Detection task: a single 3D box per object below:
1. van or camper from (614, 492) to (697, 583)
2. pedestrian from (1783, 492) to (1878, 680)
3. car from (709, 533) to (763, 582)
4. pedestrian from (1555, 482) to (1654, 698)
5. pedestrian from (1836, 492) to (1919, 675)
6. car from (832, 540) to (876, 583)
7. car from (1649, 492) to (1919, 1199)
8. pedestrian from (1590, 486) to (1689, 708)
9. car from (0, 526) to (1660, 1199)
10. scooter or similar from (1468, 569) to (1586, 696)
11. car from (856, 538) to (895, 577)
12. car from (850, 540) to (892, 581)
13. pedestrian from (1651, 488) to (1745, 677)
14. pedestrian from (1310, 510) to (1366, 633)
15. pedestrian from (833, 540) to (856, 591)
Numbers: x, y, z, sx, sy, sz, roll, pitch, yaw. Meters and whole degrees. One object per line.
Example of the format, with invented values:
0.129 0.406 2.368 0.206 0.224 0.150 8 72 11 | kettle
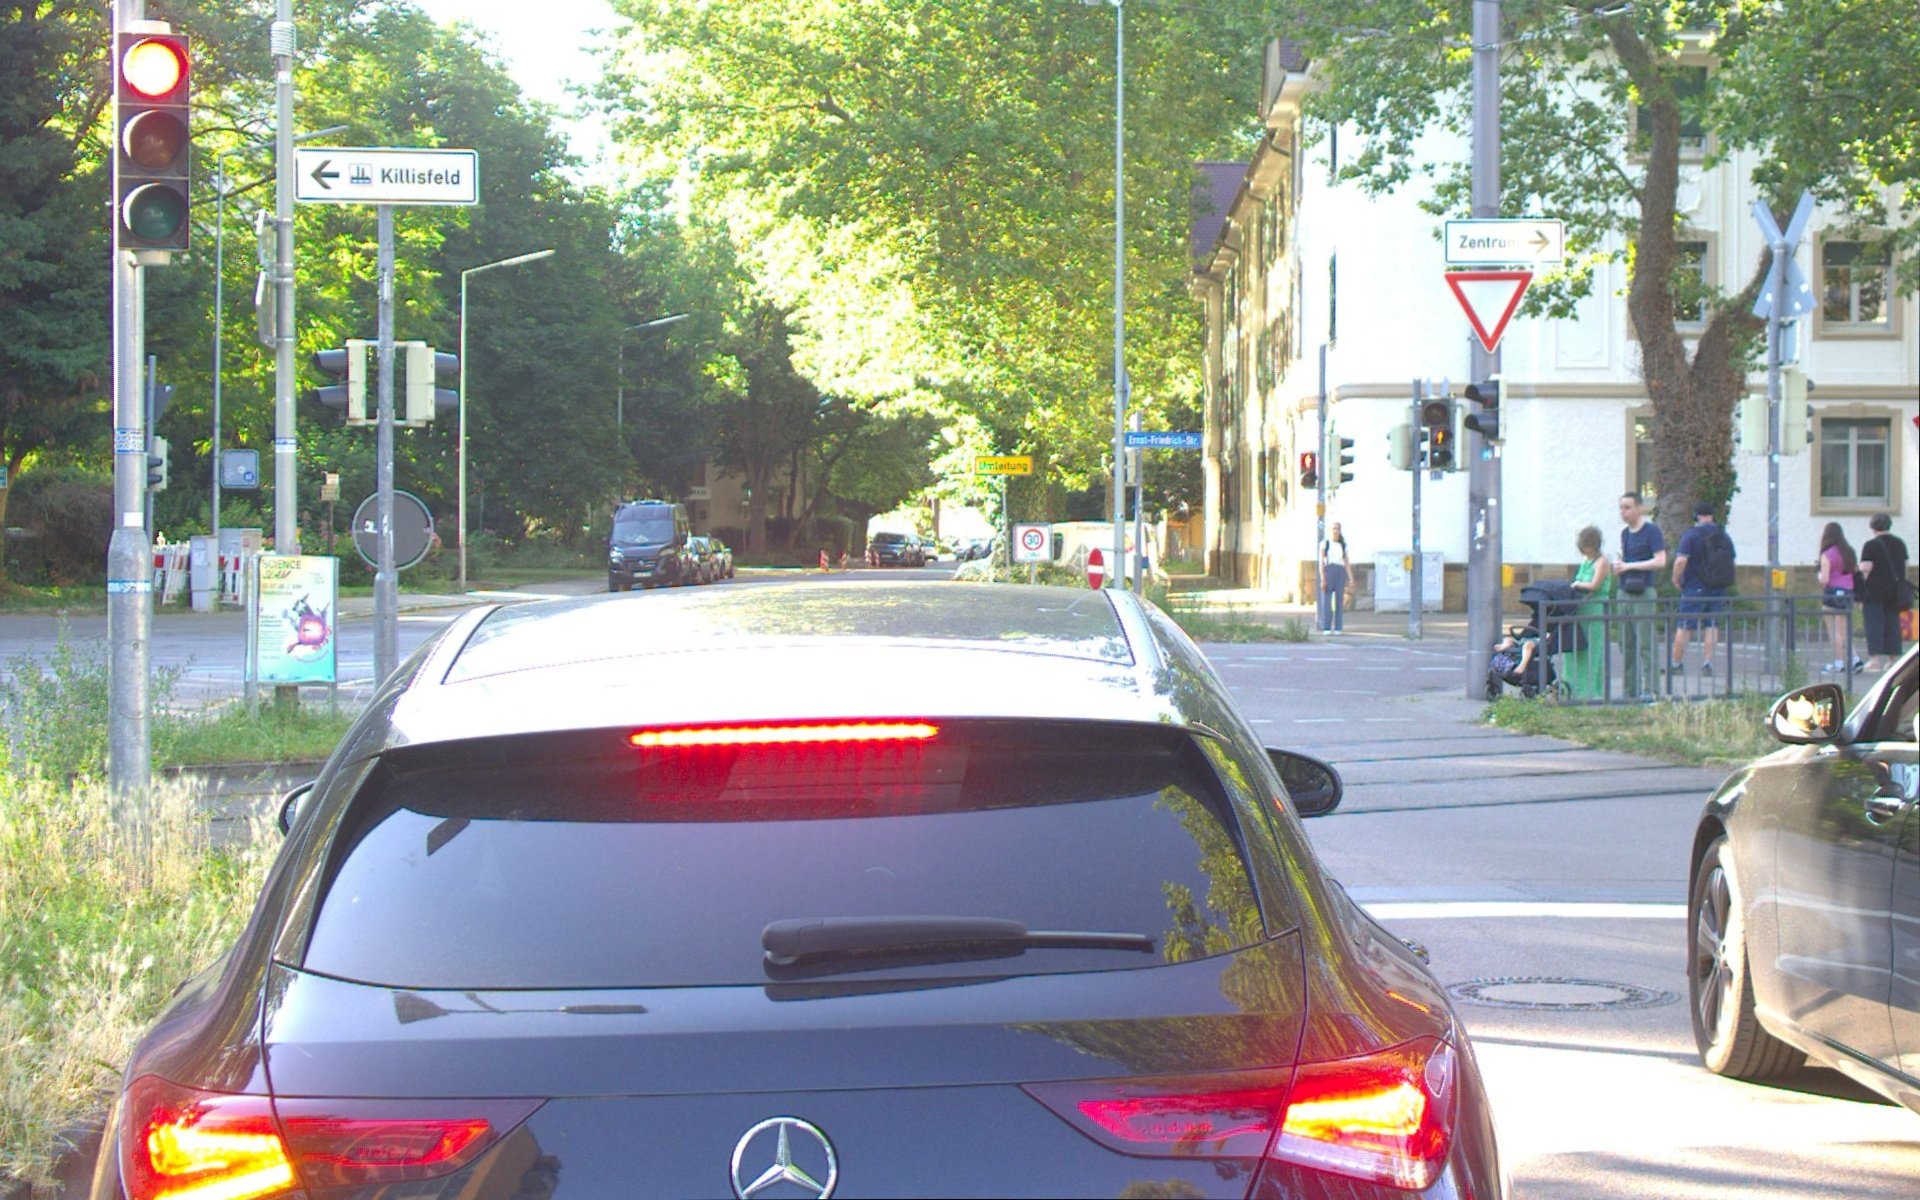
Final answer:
-8.797 -1.795 99.737 1.993 2.532 4.651 1 1 0 | van or camper
9.026 -0.149 35.669 0.705 1.911 0.839 1 0 -4 | pedestrian
-8.226 -1.557 126.402 1.733 1.759 3.971 1 1 -1 | car
5.788 -0.095 30.890 0.682 1.911 0.707 1 0 -4 | pedestrian
9.836 -0.177 36.669 0.705 1.911 0.839 1 0 -4 | pedestrian
-4.480 -1.636 145.562 1.733 1.759 4.019 1 1 -1 | car
2.872 0.575 7.300 1.889 1.485 4.382 1 3 0 | car
5.946 -0.032 30.118 0.682 1.911 0.707 1 0 -2 | pedestrian
-0.240 0.683 5.426 1.889 1.445 4.001 1 3 1 | car
5.016 0.282 30.440 0.828 1.101 0.809 1 0 -6 | scooter or similar
-3.899 -1.958 158.464 1.733 1.759 4.019 1 1 -1 | car
-3.877 -1.736 150.382 1.733 1.759 4.019 1 1 -1 | car
7.589 -0.181 35.381 0.705 1.911 0.839 1 0 -4 | pedestrian
5.941 -0.453 54.069 0.705 1.911 0.839 1 0 -4 | pedestrian
-4.365 -1.315 130.026 0.705 1.911 0.839 1 0 -10 | pedestrian
